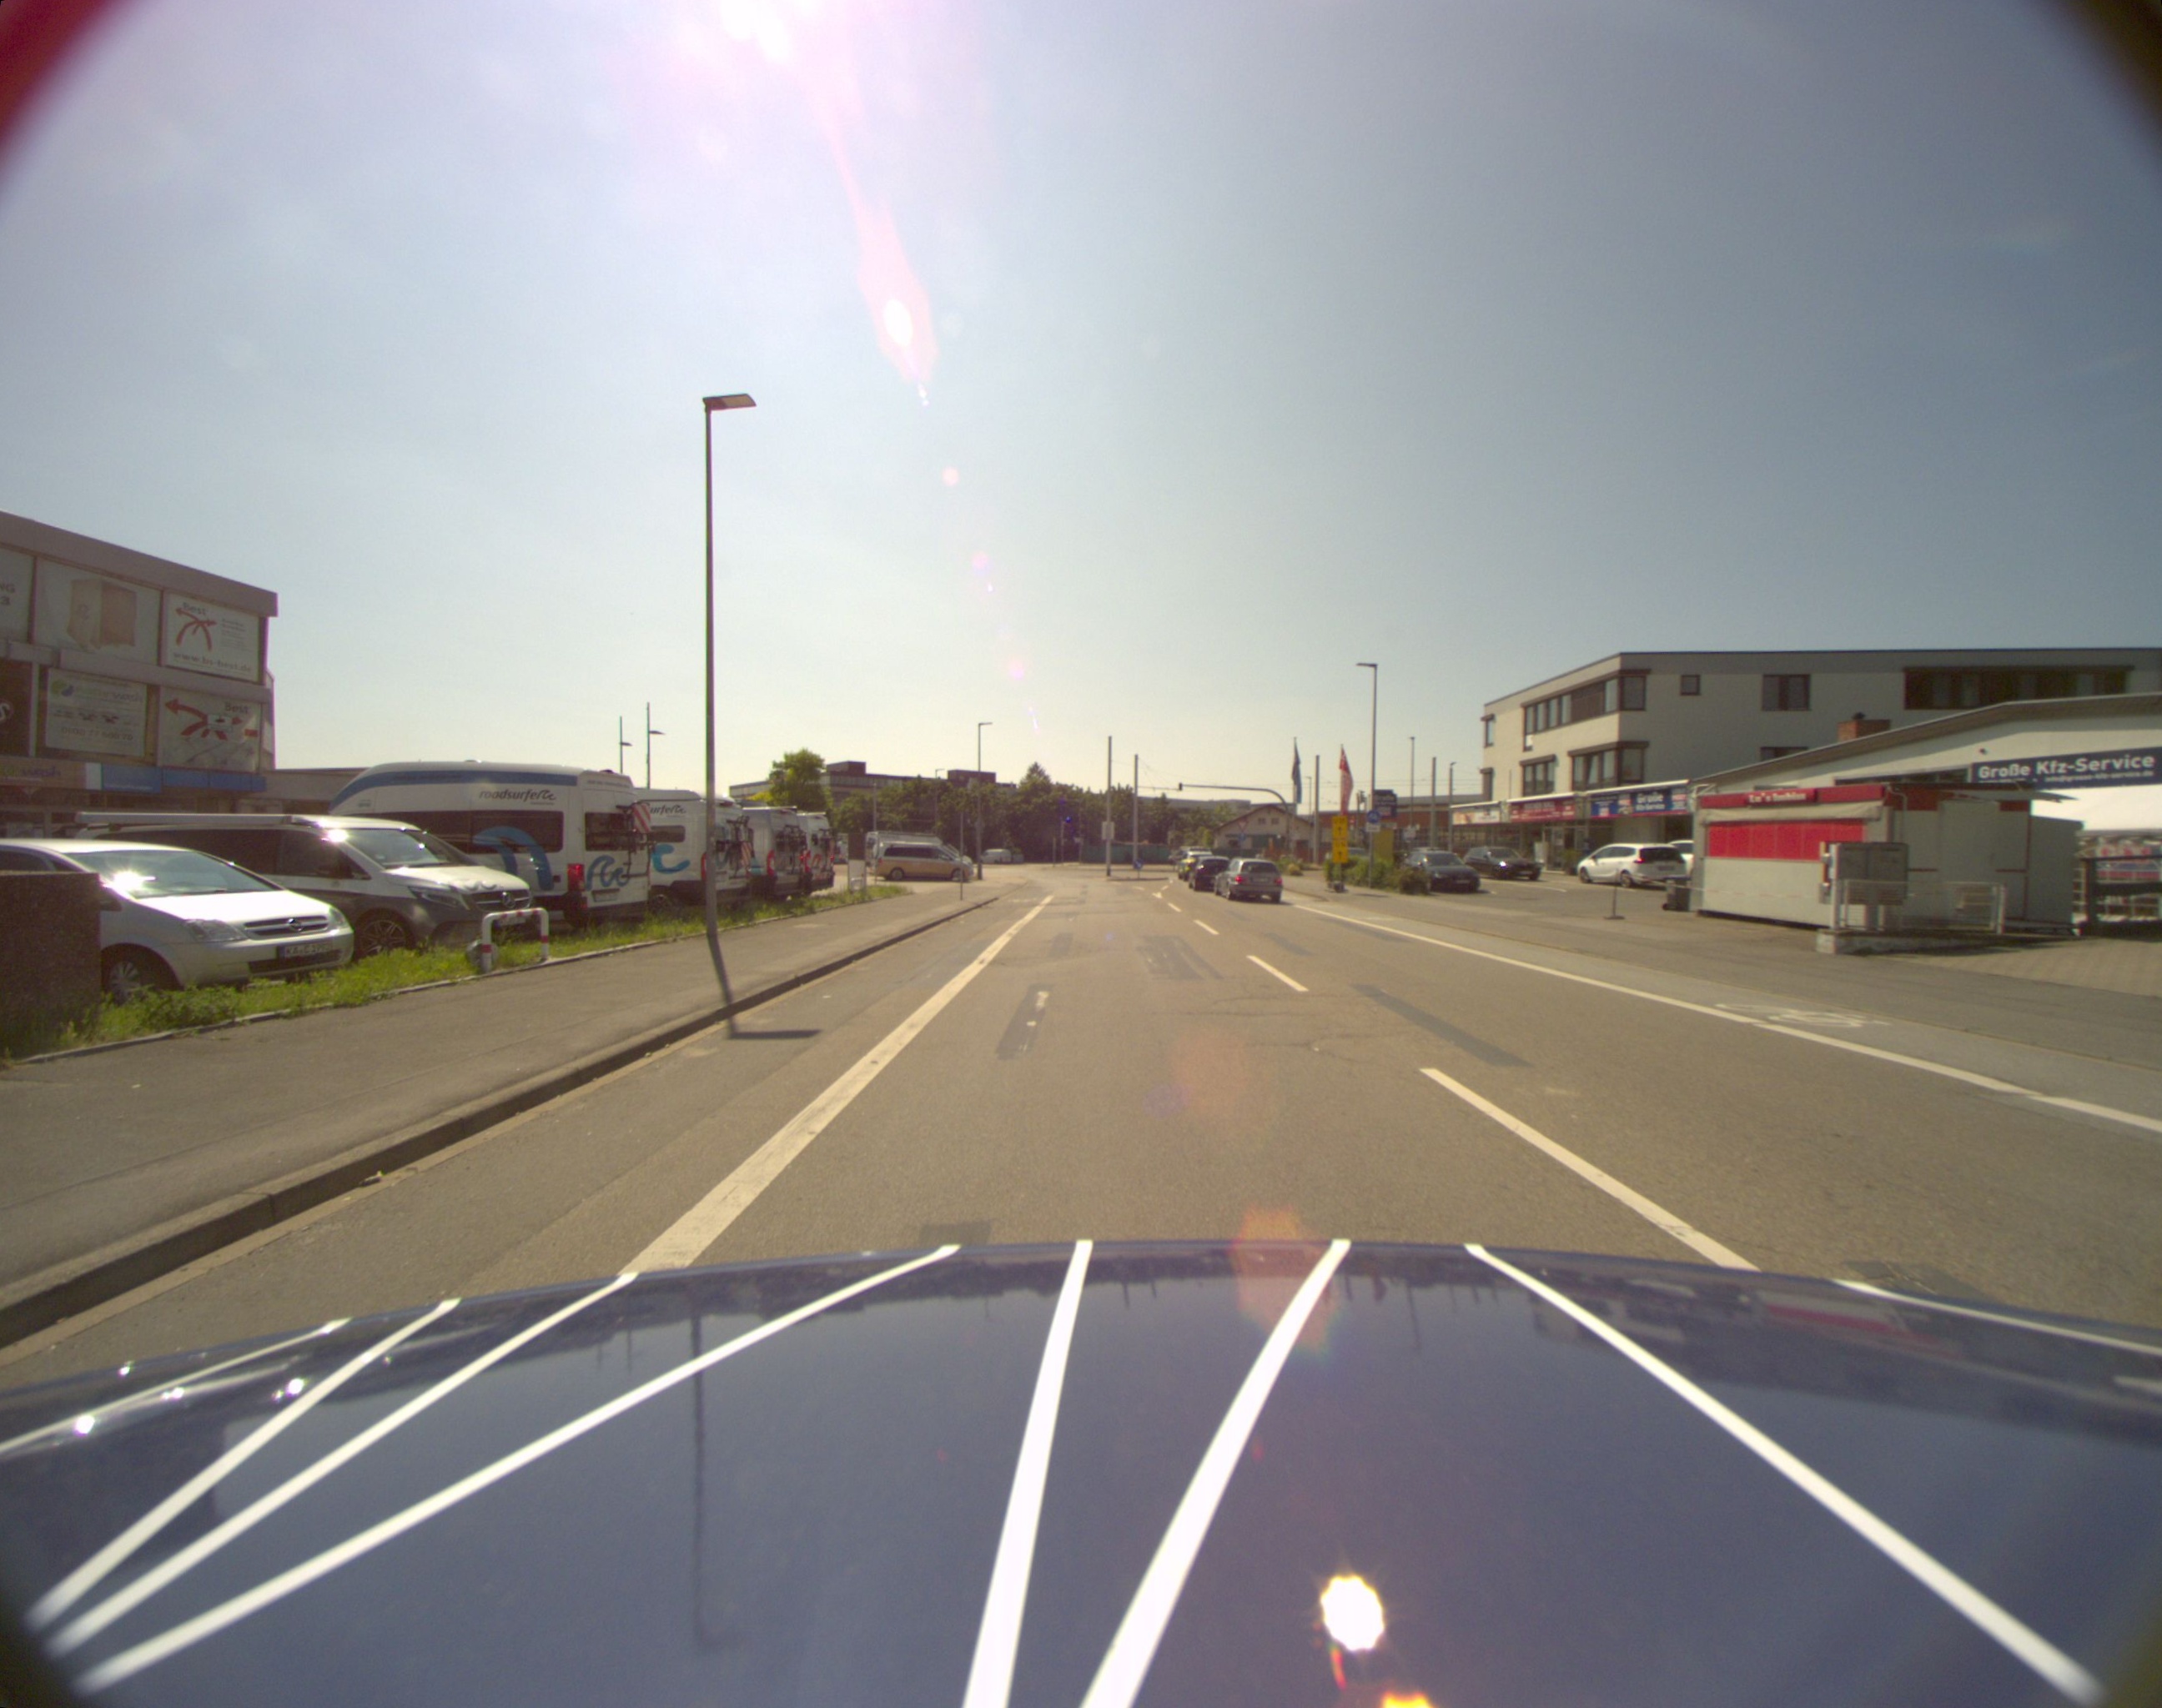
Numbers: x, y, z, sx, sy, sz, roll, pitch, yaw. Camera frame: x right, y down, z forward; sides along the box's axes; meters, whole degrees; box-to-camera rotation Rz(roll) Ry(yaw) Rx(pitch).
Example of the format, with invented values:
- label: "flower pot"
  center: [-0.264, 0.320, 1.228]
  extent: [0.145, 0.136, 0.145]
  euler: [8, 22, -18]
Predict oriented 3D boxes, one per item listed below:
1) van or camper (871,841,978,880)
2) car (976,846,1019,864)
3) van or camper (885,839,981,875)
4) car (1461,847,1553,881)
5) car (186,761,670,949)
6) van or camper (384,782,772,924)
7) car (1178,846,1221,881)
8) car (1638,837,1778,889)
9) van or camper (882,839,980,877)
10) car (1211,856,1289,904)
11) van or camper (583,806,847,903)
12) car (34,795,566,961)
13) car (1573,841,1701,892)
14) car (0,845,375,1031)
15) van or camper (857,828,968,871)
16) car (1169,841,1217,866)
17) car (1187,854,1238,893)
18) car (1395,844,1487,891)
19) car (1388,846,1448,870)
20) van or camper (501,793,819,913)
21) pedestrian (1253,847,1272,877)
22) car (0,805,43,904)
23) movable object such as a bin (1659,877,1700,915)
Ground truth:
- label: "van or camper"
  center: [-8.211, 0.353, 39.948]
  extent: [5.145, 1.950, 1.981]
  euler: [1, 2, -29]
- label: "car"
  center: [-10.628, 0.096, 96.449]
  extent: [5.515, 2.121, 2.218]
  euler: [2, 0, 43]
- label: "van or camper"
  center: [-8.935, 0.187, 45.996]
  extent: [5.148, 2.064, 2.446]
  euler: [0, 1, -31]
- label: "car"
  center: [19.064, 0.408, 34.241]
  extent: [1.911, 1.413, 4.419]
  euler: [1, 0, 4]
- label: "car"
  center: [-10.700, 0.004, 12.867]
  extent: [6.243, 2.853, 2.320]
  euler: [1, 1, 1]
- label: "van or camper"
  center: [-10.240, -0.027, 15.975]
  extent: [6.364, 2.684, 2.712]
  euler: [1, 1, 1]
- label: "car"
  center: [6.412, 0.479, 41.490]
  extent: [1.897, 1.748, 4.354]
  euler: [1, 1, 4]
- label: "car"
  center: [23.751, 0.308, 29.045]
  extent: [1.911, 1.806, 4.419]
  euler: [1, 1, 4]
- label: "van or camper"
  center: [-8.453, 0.230, 42.897]
  extent: [4.991, 2.033, 2.037]
  euler: [1, 1, -29]
- label: "car"
  center: [5.712, 0.832, 26.165]
  extent: [1.746, 1.396, 4.324]
  euler: [2, 1, 1]
- label: "van or camper"
  center: [-10.168, 0.001, 21.566]
  extent: [6.211, 2.510, 2.619]
  euler: [1, 1, 1]
- label: "car"
  center: [-10.352, 0.292, 10.401]
  extent: [5.247, 1.940, 2.000]
  euler: [1, 1, 1]
- label: "car"
  center: [21.242, 0.396, 29.314]
  extent: [1.911, 1.699, 4.478]
  euler: [1, 2, 5]
- label: "car"
  center: [-9.806, 0.759, 7.511]
  extent: [3.931, 1.584, 1.798]
  euler: [-2, 1, 1]
- label: "van or camper"
  center: [-10.669, -0.280, 48.368]
  extent: [6.376, 2.621, 2.526]
  euler: [0, 1, -35]
- label: "car"
  center: [11.934, -0.087, 81.065]
  extent: [4.421, 1.938, 2.001]
  euler: [9, 9, 37]
- label: "car"
  center: [5.433, 0.759, 31.885]
  extent: [1.664, 1.446, 4.242]
  euler: [2, 1, 4]
- label: "car"
  center: [14.140, 0.478, 30.089]
  extent: [1.909, 1.705, 4.001]
  euler: [1, 1, 3]
- label: "car"
  center: [20.512, 0.243, 46.470]
  extent: [1.911, 1.380, 4.486]
  euler: [1, 0, 4]
- label: "van or camper"
  center: [-10.147, -0.034, 18.812]
  extent: [6.364, 2.700, 2.712]
  euler: [1, 1, 1]
- label: "pedestrian"
  center: [10.176, 0.443, 42.636]
  extent: [0.995, 1.676, 0.800]
  euler: [1, 1, 12]
- label: "car"
  center: [-28.900, -0.015, 18.055]
  extent: [5.310, 2.405, 2.326]
  euler: [1, 1, 1]
- label: "movable object such as a bin"
  center: [15.249, 1.062, 19.379]
  extent: [0.572, 0.917, 0.690]
  euler: [-2, 0, 14]
